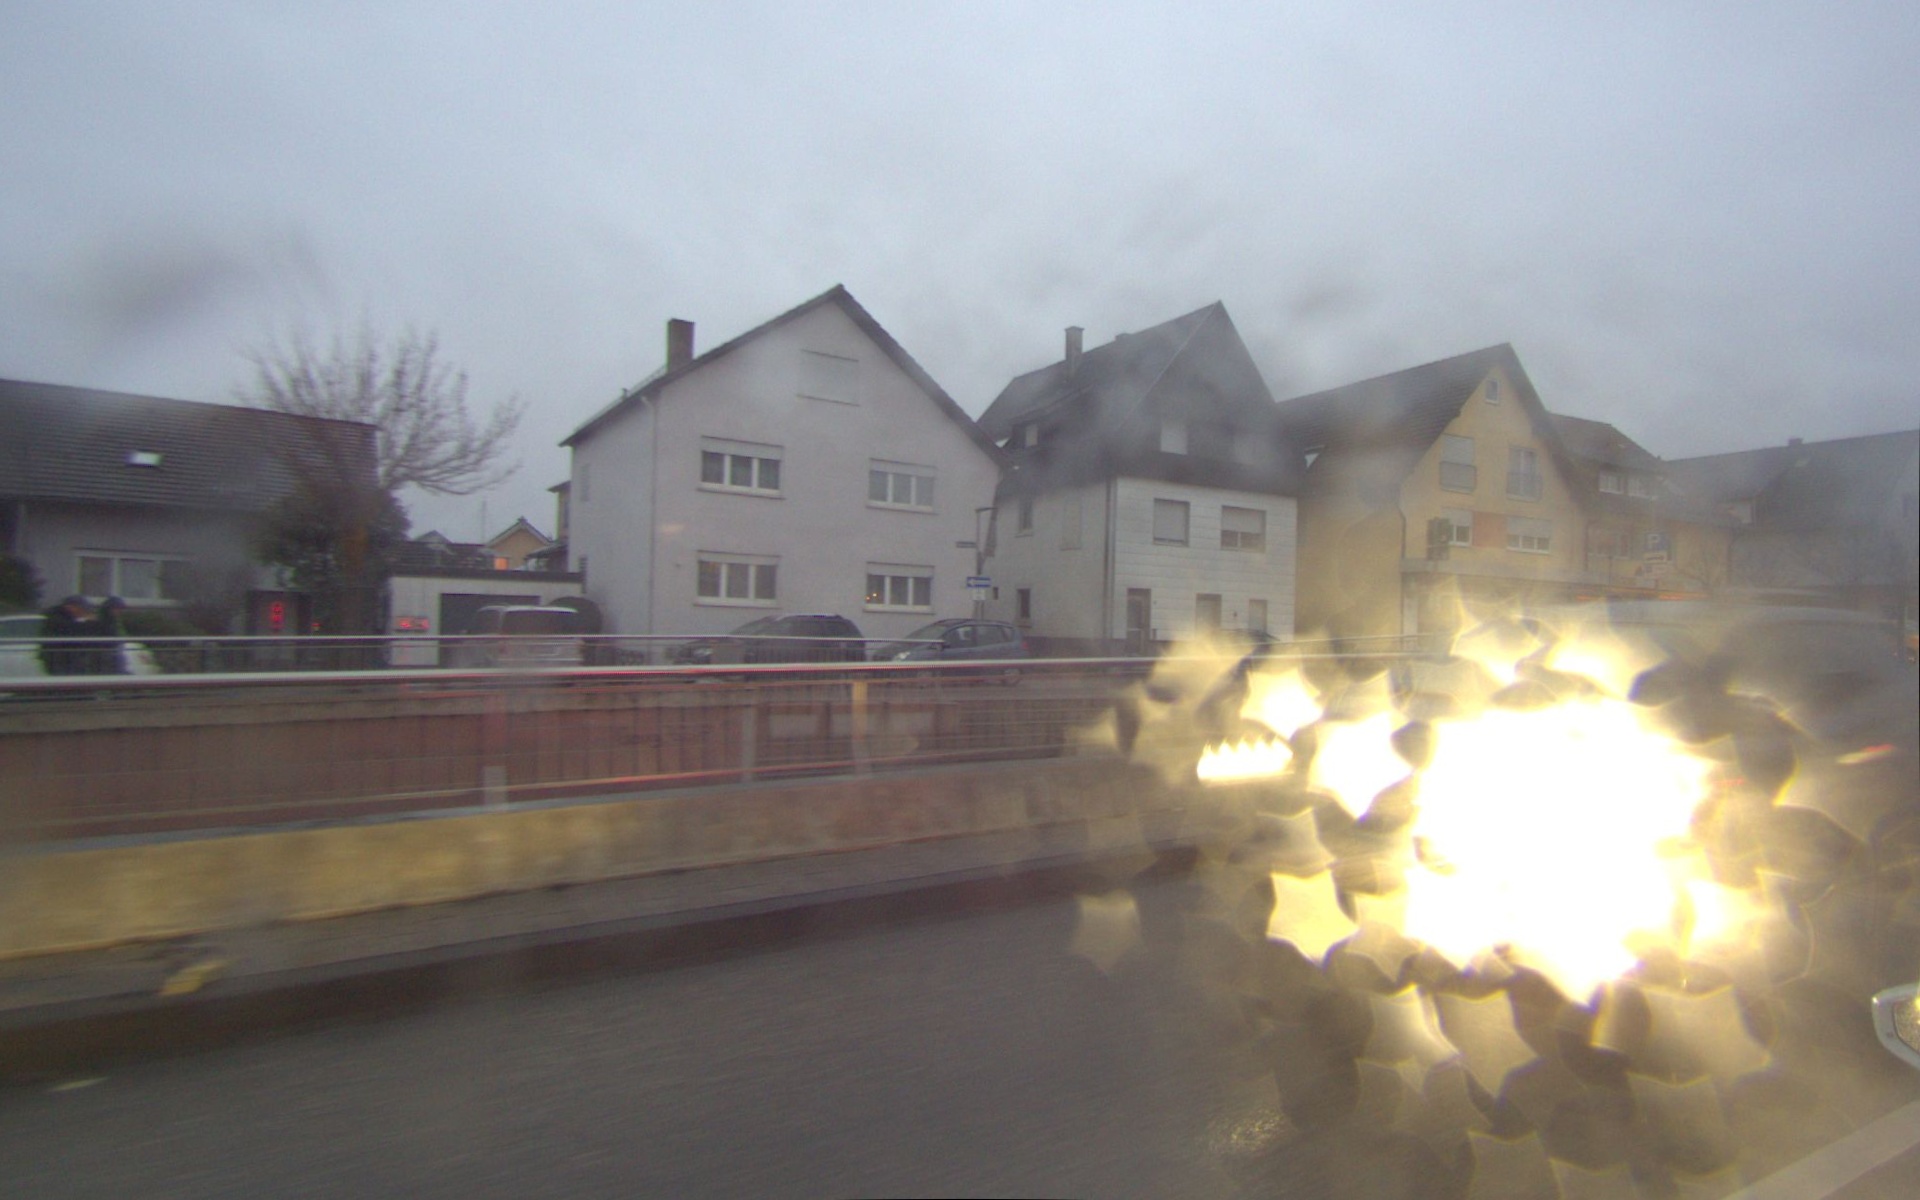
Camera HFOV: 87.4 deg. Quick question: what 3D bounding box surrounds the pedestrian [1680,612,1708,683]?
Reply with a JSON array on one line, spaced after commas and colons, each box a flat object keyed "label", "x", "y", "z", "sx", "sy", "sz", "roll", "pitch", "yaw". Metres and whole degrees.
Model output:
[{"label": "pedestrian", "x": 18.119, "y": 1.179, "z": 24.796, "sx": 0.489, "sy": 1.724, "sz": 0.711, "roll": -2, "pitch": -2, "yaw": 35}]

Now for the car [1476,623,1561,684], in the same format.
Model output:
[{"label": "car", "x": 16.171, "y": 1.485, "z": 28.995, "sx": 1.797, "sy": 1.634, "sz": 4.044, "roll": 0, "pitch": -1, "yaw": 34}]

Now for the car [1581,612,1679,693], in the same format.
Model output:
[{"label": "car", "x": 17.687, "y": 1.314, "z": 26.518, "sx": 2.010, "sy": 1.951, "sz": 4.044, "roll": 0, "pitch": -1, "yaw": 34}]

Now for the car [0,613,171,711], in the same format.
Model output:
[{"label": "car", "x": -14.550, "y": 0.940, "z": 15.639, "sx": 3.425, "sy": 1.446, "sz": 1.473, "roll": 2, "pitch": -2, "yaw": -35}]

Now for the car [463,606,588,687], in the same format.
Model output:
[{"label": "car", "x": -10.120, "y": 1.056, "z": 23.245, "sx": 1.847, "sy": 1.716, "sz": 3.960, "roll": 1, "pitch": -2, "yaw": -36}]

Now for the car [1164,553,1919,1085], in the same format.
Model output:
[{"label": "car", "x": 3.072, "y": 0.737, "z": 4.949, "sx": 3.954, "sy": 1.675, "sz": 1.728, "roll": 1, "pitch": -1, "yaw": -31}]

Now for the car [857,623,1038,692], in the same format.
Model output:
[{"label": "car", "x": -0.295, "y": 1.382, "z": 25.118, "sx": 4.170, "sy": 1.583, "sz": 1.901, "roll": 1, "pitch": -1, "yaw": -32}]

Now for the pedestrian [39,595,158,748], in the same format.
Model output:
[{"label": "pedestrian", "x": -10.712, "y": 0.852, "z": 12.530, "sx": 0.963, "sy": 1.808, "sz": 0.923, "roll": 1, "pitch": 0, "yaw": -33}]

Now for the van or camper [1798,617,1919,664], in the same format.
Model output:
[{"label": "van or camper", "x": 41.013, "y": 1.778, "z": 44.784, "sx": 1.966, "sy": 1.980, "sz": 5.533, "roll": 1, "pitch": -1, "yaw": -14}]

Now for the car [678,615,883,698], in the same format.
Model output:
[{"label": "car", "x": -4.008, "y": 1.214, "z": 22.683, "sx": 4.175, "sy": 1.705, "sz": 1.898, "roll": 1, "pitch": -1, "yaw": -35}]

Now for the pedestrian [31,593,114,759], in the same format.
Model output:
[{"label": "pedestrian", "x": -9.557, "y": 0.794, "z": 10.837, "sx": 0.535, "sy": 1.720, "sz": 0.659, "roll": 1, "pitch": 0, "yaw": -32}]

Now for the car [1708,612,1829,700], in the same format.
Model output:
[{"label": "car", "x": 19.781, "y": 1.305, "z": 24.741, "sx": 2.010, "sy": 1.951, "sz": 4.044, "roll": 0, "pitch": -1, "yaw": 34}]
